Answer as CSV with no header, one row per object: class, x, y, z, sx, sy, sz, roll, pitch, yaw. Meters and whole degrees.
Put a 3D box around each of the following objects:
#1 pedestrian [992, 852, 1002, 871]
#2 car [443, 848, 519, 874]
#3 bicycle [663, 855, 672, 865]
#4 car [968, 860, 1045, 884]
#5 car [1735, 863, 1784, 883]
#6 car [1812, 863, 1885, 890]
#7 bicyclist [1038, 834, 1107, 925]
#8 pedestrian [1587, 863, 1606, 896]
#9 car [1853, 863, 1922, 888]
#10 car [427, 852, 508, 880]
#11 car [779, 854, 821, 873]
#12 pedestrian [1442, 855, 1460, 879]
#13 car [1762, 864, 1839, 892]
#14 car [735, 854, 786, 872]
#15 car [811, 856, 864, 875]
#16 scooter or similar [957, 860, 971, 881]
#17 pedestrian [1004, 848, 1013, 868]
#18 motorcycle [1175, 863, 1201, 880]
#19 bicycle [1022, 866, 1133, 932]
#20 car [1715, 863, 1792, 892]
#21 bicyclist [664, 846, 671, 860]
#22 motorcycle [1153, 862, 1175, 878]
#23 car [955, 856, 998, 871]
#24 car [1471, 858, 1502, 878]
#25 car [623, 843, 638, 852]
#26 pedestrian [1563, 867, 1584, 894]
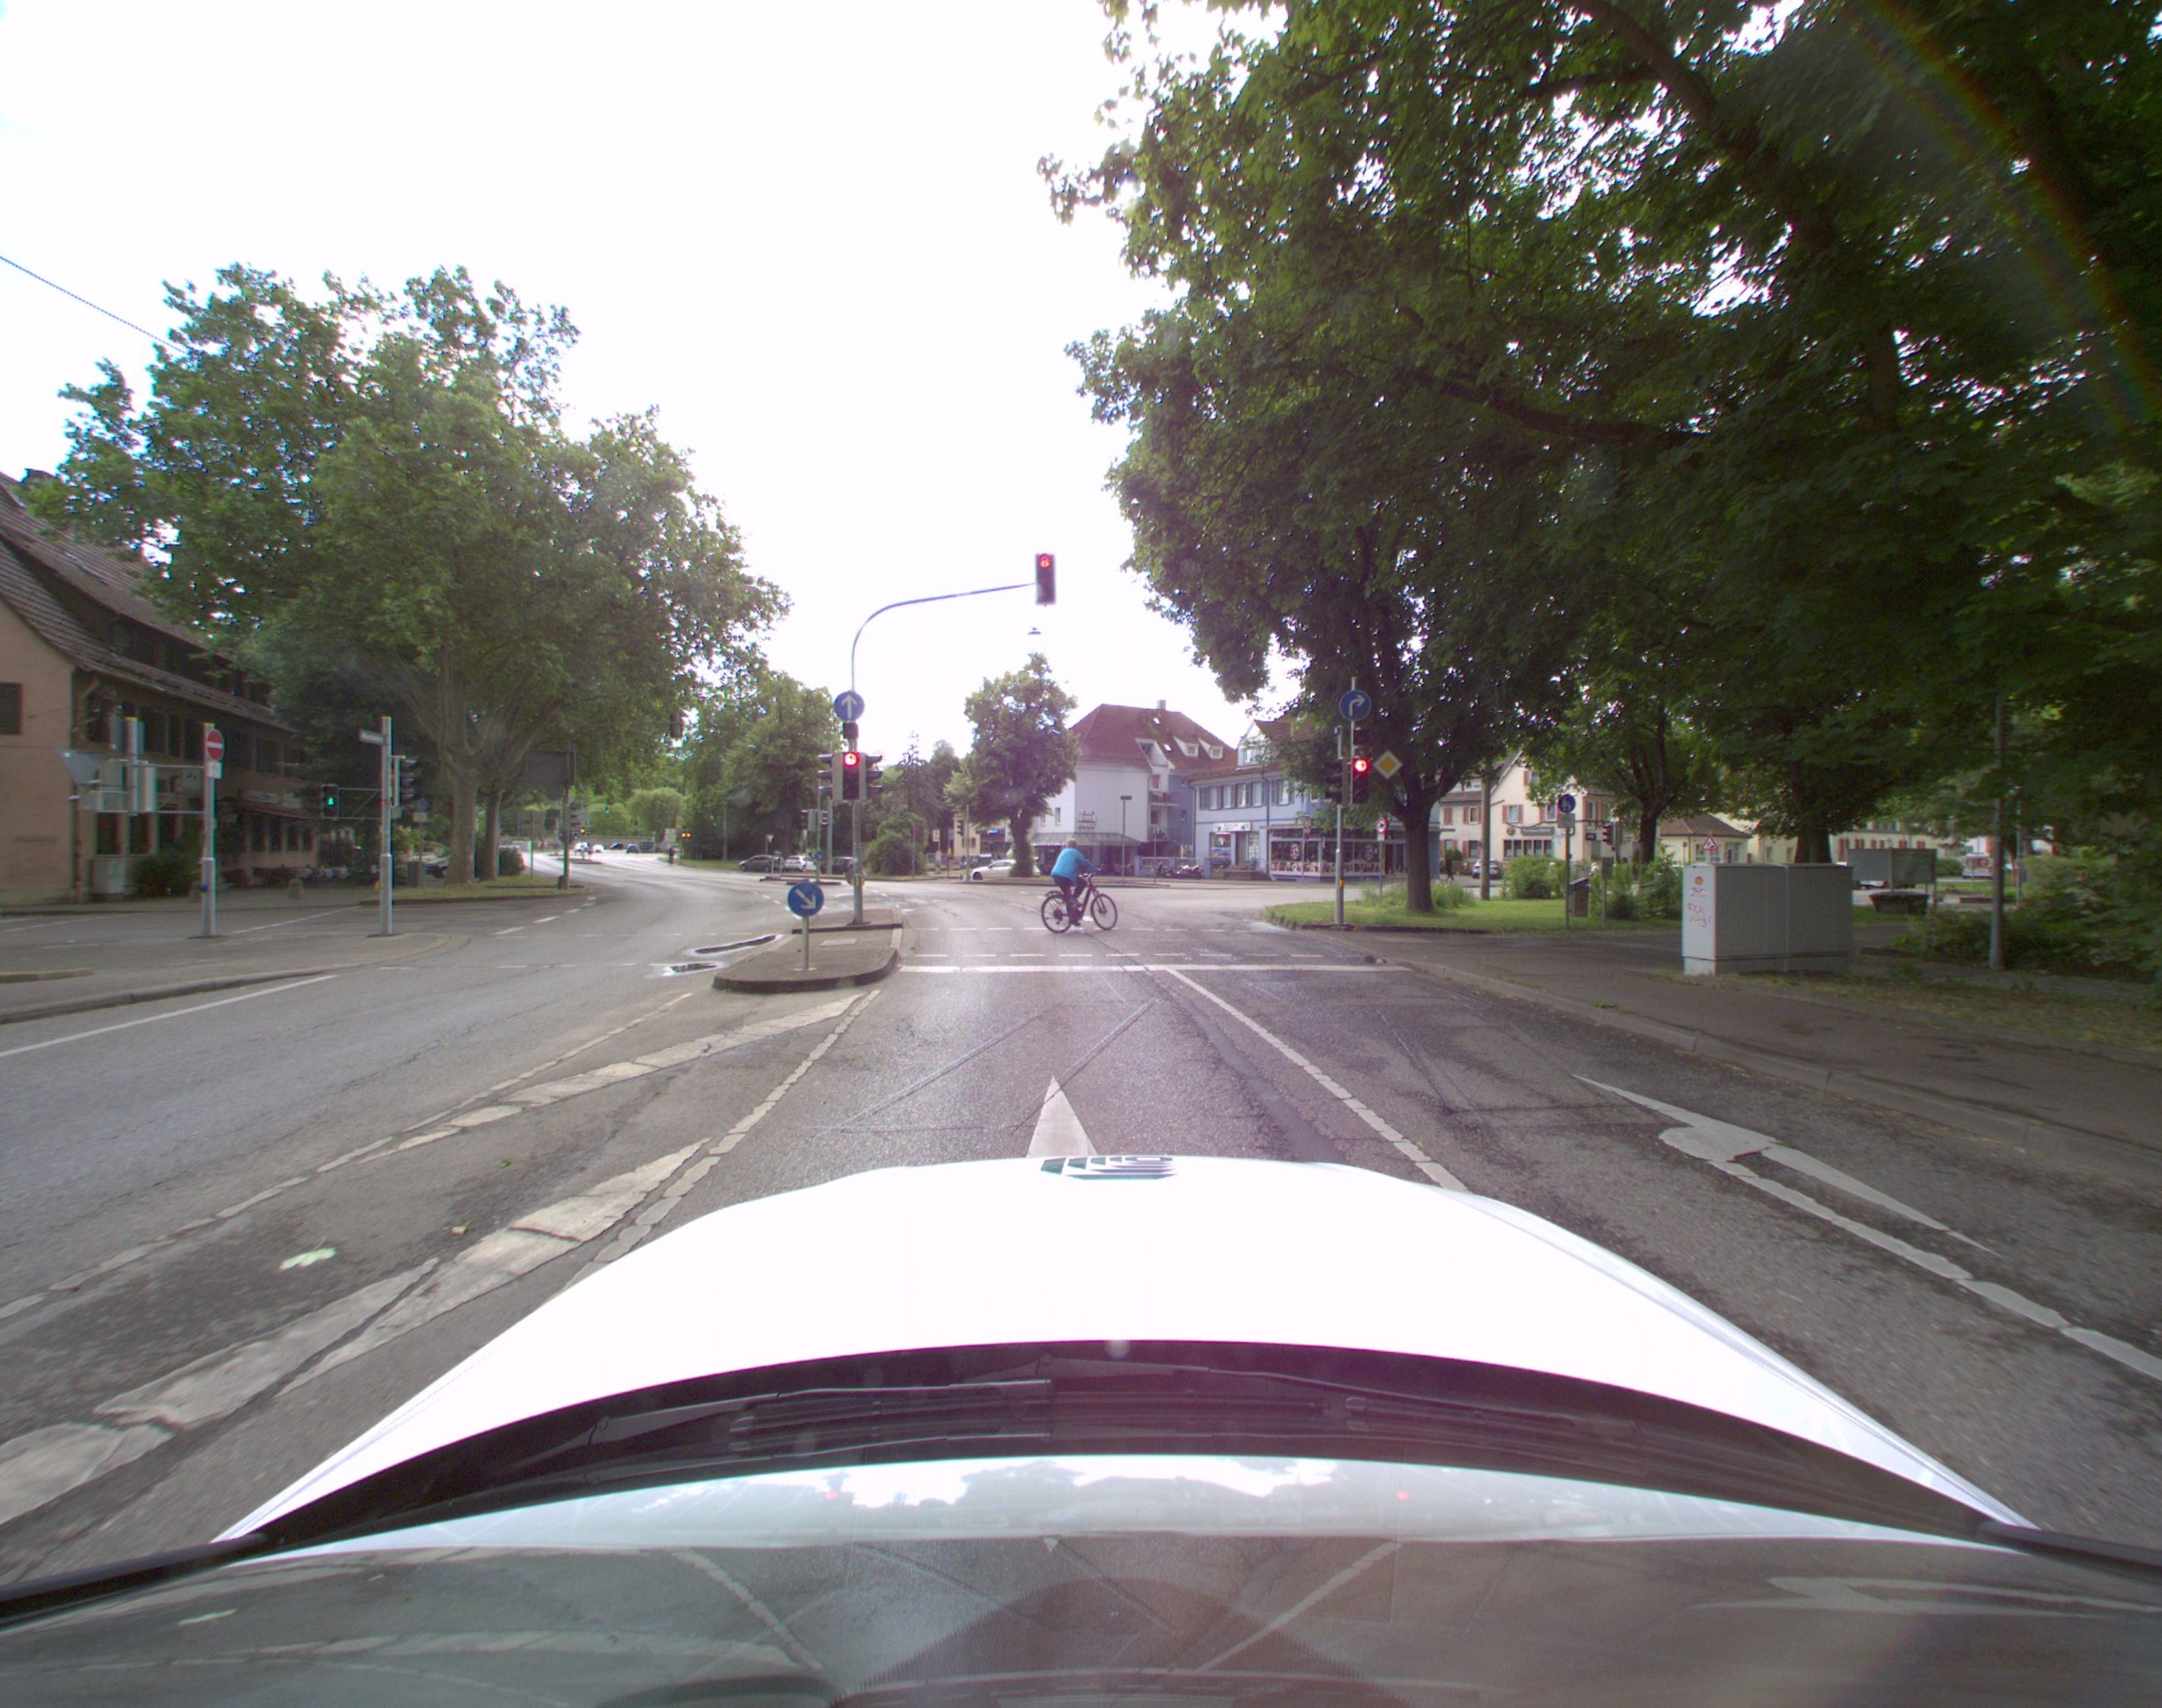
pedestrian,-8.899,0.767,86.043,0.839,2.014,1.050,0,0,-16
car,-39.895,0.436,54.220,4.018,1.684,1.977,0,0,-37
bicycle,-39.780,0.576,78.307,0.560,0.958,2.012,0,0,-32
car,-4.723,1.105,51.286,4.654,1.410,1.914,0,0,33
car,52.163,1.464,62.612,3.875,1.447,1.751,0,-1,-32
car,44.386,1.280,47.093,3.736,1.457,1.638,0,0,-21
bicyclist,-0.175,0.459,15.435,0.992,1.651,0.909,0,0,-31
pedestrian,24.734,1.225,39.082,0.687,1.560,0.670,-1,-1,29
car,49.720,1.277,50.184,3.736,1.457,1.638,0,0,-21
car,-38.899,0.721,51.715,4.018,1.684,1.977,0,0,-37
car,-24.638,0.810,71.471,1.849,1.640,3.764,0,0,9
pedestrian,23.917,0.841,52.648,0.672,1.560,0.742,0,-1,-16
car,39.771,1.288,45.025,3.736,1.457,1.638,0,0,-21
car,-26.903,0.758,68.428,3.745,1.465,1.628,0,0,16
car,-17.466,0.832,58.524,3.286,1.352,1.791,0,0,25
scooter or similar,-6.878,0.966,48.054,0.440,1.175,1.441,0,0,7
pedestrian,-5.760,0.289,64.700,0.539,1.560,0.469,-1,-1,12
motorcycle,7.138,1.147,54.381,1.609,1.088,0.631,-1,0,30
bicycle,-0.052,0.825,15.504,1.959,1.149,0.867,0,0,-32
car,35.444,1.213,42.956,3.474,1.457,1.638,0,0,-21
bicyclist,-39.746,-0.105,78.260,0.543,1.342,0.707,0,0,-32
motorcycle,5.729,1.129,56.093,1.441,1.088,0.527,-1,0,33
car,-10.389,0.951,80.927,3.953,1.442,1.740,0,0,-22
car,28.994,0.991,58.195,1.867,1.391,3.636,0,0,28
car,-78.519,-1.118,142.025,2.008,1.596,3.958,0,-1,-34
pedestrian,20.418,1.101,33.781,0.506,1.081,0.513,0,-1,-16
